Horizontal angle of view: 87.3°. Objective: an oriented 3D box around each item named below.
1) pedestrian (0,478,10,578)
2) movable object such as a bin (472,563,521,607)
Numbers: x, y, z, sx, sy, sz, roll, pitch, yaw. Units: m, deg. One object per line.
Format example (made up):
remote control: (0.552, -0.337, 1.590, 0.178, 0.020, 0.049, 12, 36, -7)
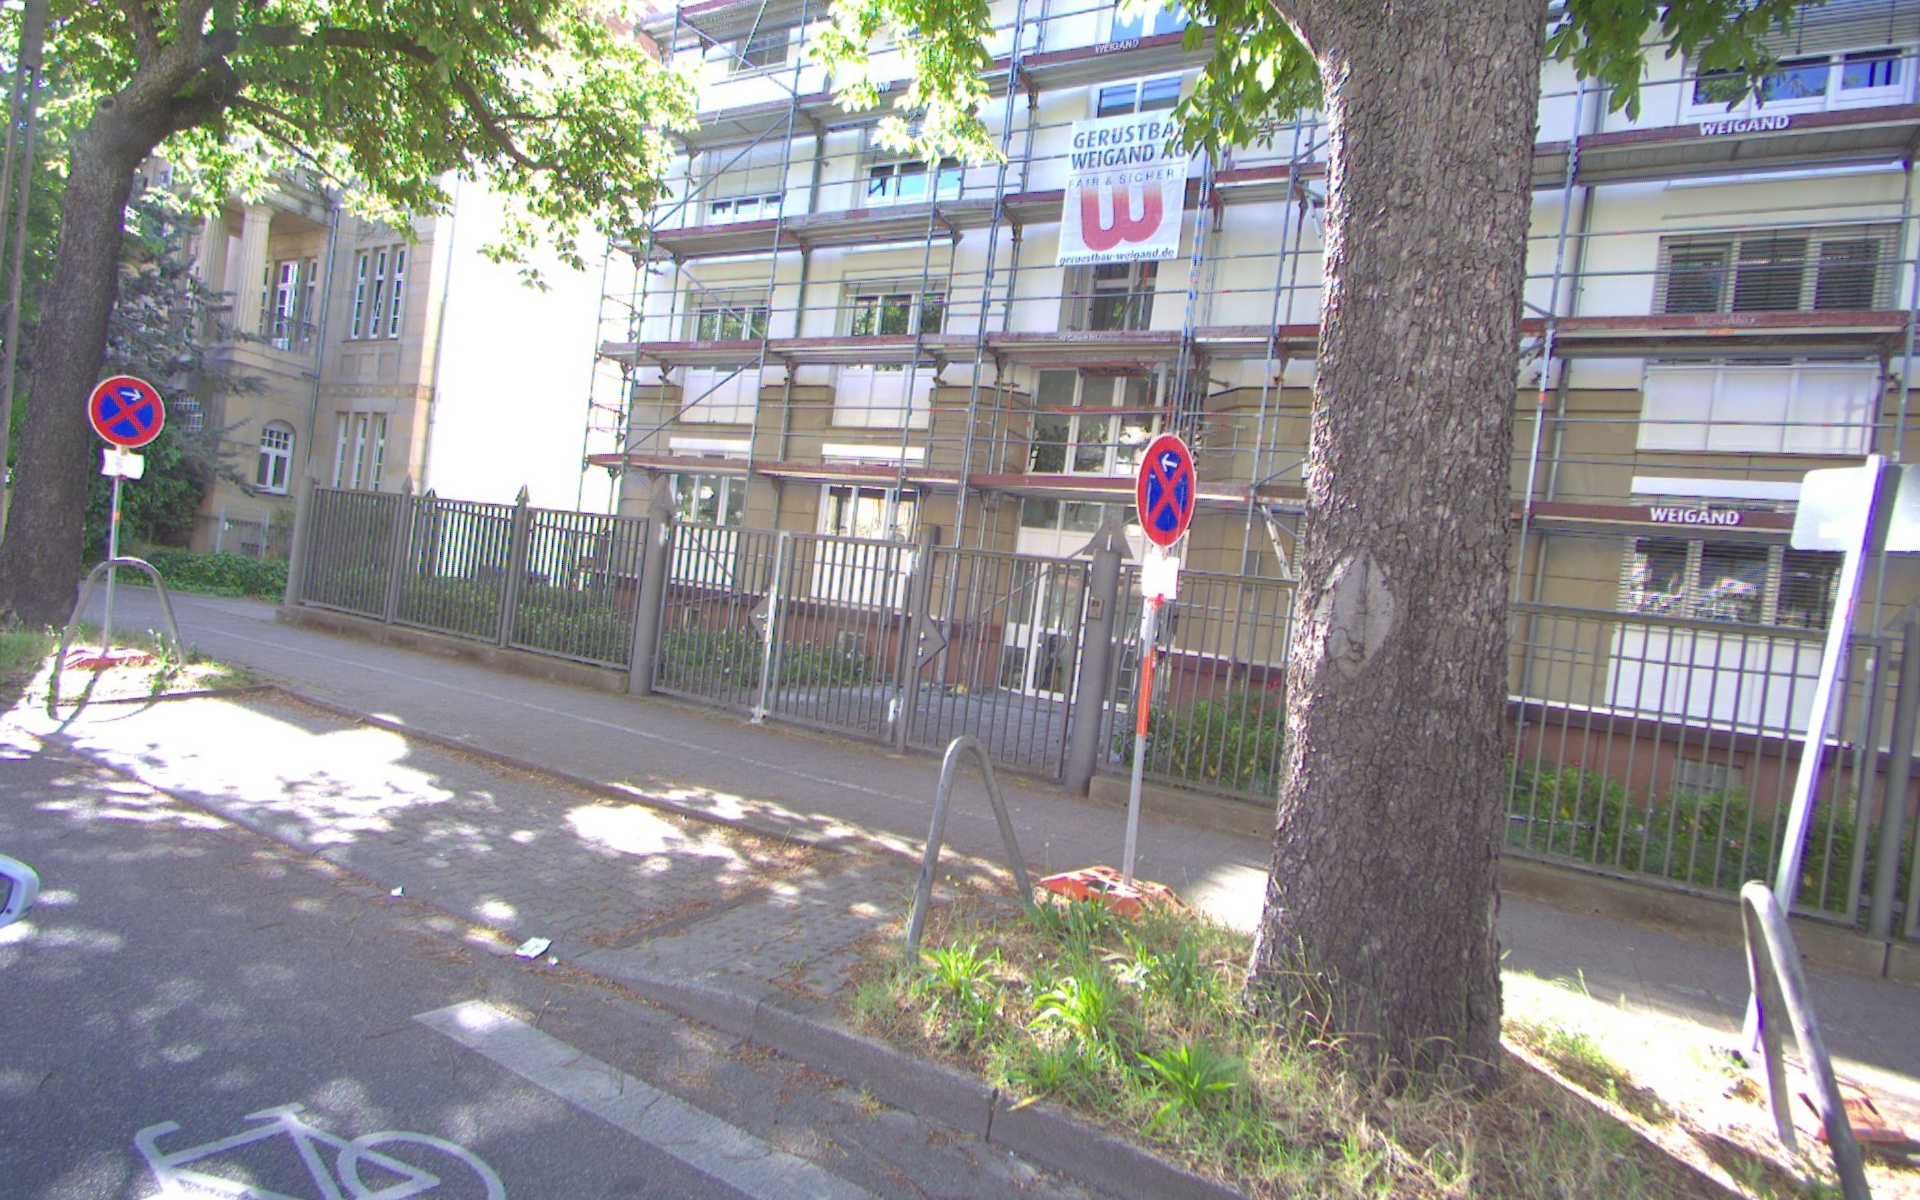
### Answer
pedestrian: (-16.749, -1.269, 17.133, 0.636, 1.693, 0.592, 7, 1, 31)
movable object such as a bin: (-11.720, -0.373, 25.445, 0.637, 0.966, 0.835, 6, -2, 30)
